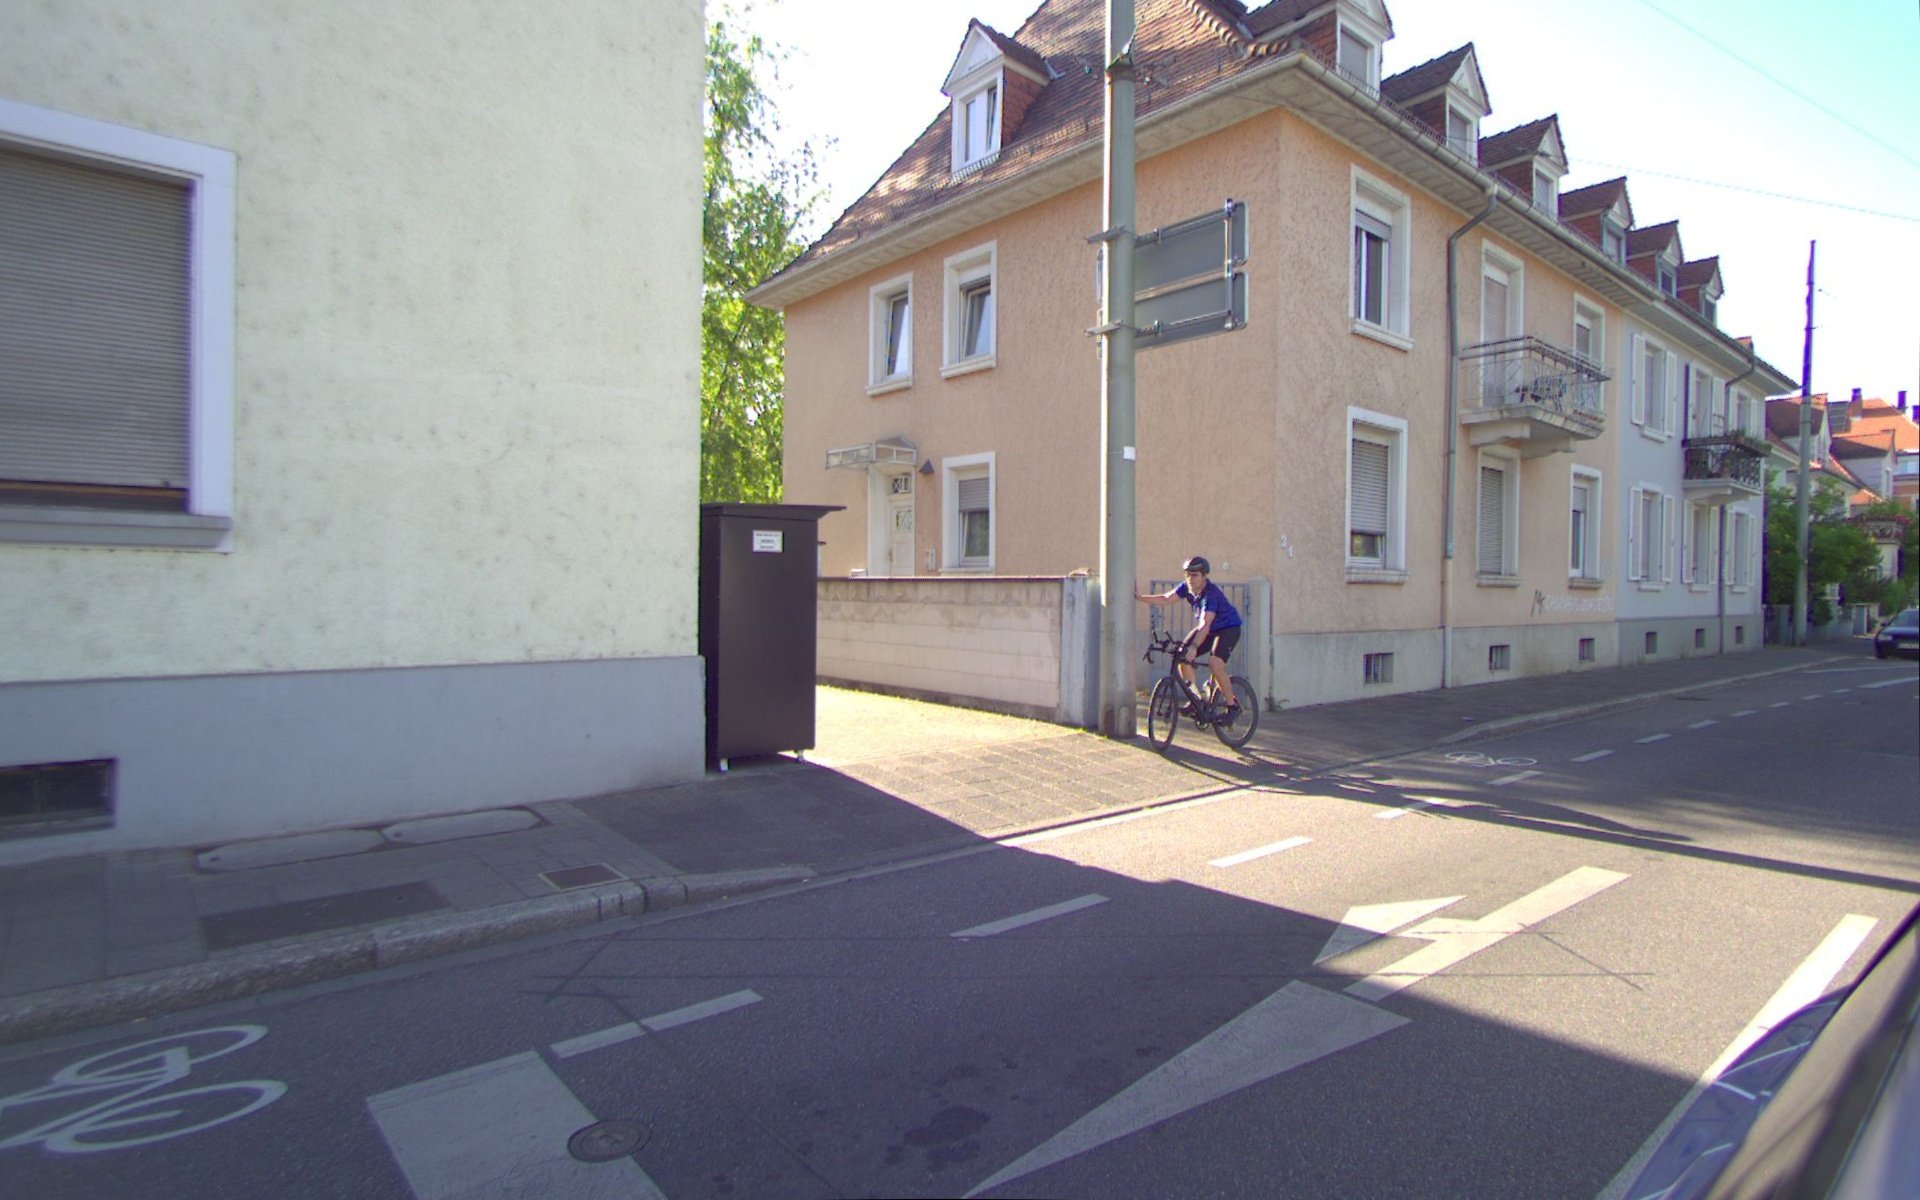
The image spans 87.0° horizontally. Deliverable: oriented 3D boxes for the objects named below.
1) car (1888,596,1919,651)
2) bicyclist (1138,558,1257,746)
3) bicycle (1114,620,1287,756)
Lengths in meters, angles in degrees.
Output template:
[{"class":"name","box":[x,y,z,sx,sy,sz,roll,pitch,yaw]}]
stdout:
[{"class":"car","box":[26.711,0.620,27.396,4.347,1.425,1.866,0,1,-41]},{"class":"bicyclist","box":[2.192,0.443,9.319,0.998,1.637,0.562,0,1,-39]},{"class":"bicycle","box":[2.266,0.767,9.415,1.763,1.074,0.551,0,6,-41]}]
